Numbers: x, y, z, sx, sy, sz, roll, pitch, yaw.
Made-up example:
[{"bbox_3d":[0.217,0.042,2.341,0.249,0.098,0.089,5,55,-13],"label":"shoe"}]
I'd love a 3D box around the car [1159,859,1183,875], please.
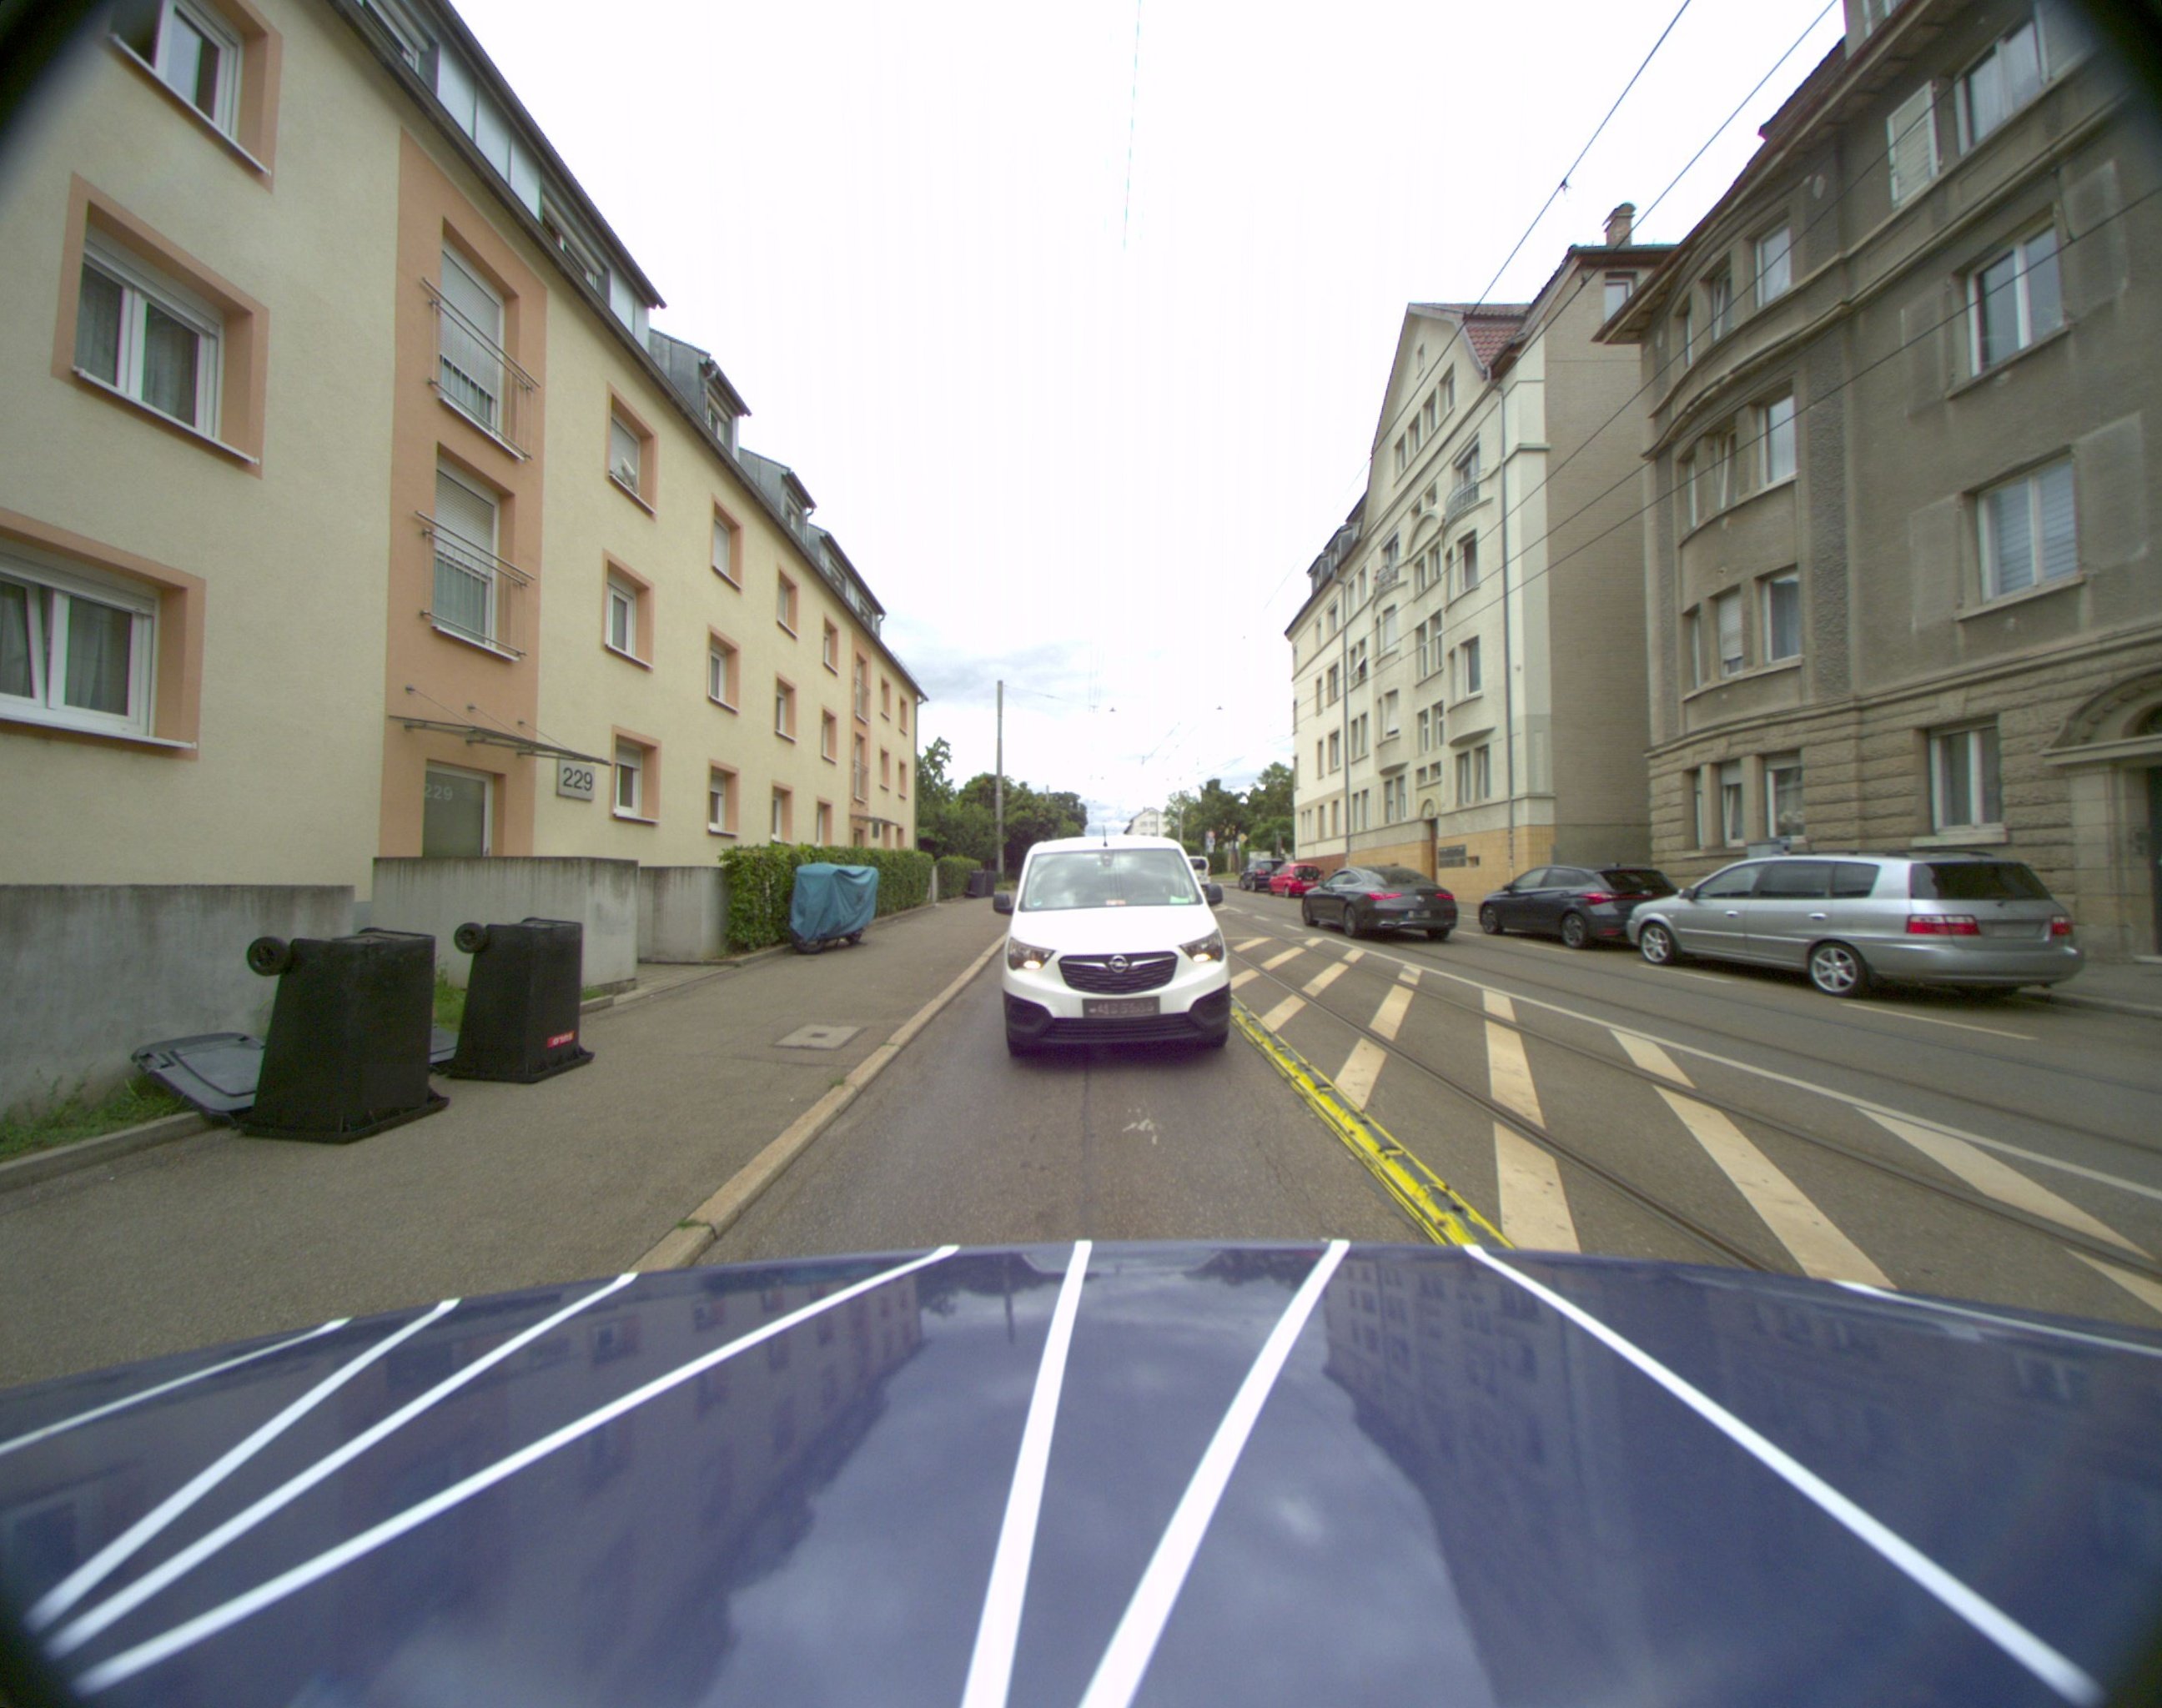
[{"bbox_3d":[9.627,1.380,81.729,1.974,1.677,4.632,0,1,-1],"label":"car"}]

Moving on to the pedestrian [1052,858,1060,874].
[{"bbox_3d":[-2.594,1.223,79.246,0.716,1.611,0.718,0,0,1],"label":"pedestrian"}]

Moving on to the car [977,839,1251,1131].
[{"bbox_3d":[0.264,0.849,7.026,1.730,1.850,4.421,0,0,1],"label":"car"}]

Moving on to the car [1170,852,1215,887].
[{"bbox_3d":[6.013,0.816,41.319,1.925,1.808,4.218,0,0,2],"label":"car"}]

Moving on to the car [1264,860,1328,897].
[{"bbox_3d":[9.366,1.025,33.360,1.625,1.454,3.744,0,1,-2],"label":"car"}]

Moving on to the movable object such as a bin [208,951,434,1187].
[{"bbox_3d":[-3.904,1.073,3.942,0.612,1.073,0.541,0,0,2],"label":"movable object such as a bin"}]

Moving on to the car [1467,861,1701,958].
[{"bbox_3d":[9.074,0.910,14.171,1.625,1.454,4.032,0,1,-1],"label":"car"}]

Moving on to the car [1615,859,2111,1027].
[{"bbox_3d":[8.987,0.866,9.415,1.625,1.595,4.351,0,0,-1],"label":"car"}]

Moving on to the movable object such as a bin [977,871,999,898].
[{"bbox_3d":[-3.681,1.201,30.157,0.794,1.006,0.789,0,0,-3],"label":"movable object such as a bin"}]

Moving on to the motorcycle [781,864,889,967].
[{"bbox_3d":[-3.875,0.904,12.229,0.840,1.448,2.553,0,0,1],"label":"motorcycle"}]

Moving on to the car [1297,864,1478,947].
[{"bbox_3d":[6.053,0.942,15.673,1.926,1.416,4.498,0,0,0],"label":"car"}]

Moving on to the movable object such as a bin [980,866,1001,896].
[{"bbox_3d":[-3.677,1.092,31.045,0.794,1.211,0.789,0,0,-3],"label":"movable object such as a bin"}]

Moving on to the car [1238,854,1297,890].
[{"bbox_3d":[9.359,0.868,38.446,1.872,1.636,4.401,0,1,-1],"label":"car"}]

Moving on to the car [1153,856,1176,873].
[{"bbox_3d":[9.631,1.169,87.949,1.974,1.901,4.734,0,1,-1],"label":"car"}]

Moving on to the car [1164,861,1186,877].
[{"bbox_3d":[9.445,1.530,76.448,1.743,1.500,3.868,0,1,-1],"label":"car"}]

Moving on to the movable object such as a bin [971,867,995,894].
[{"bbox_3d":[-3.776,1.001,29.226,0.794,1.006,0.789,0,0,3],"label":"movable object such as a bin"}]

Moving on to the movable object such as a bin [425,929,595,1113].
[{"bbox_3d":[-3.763,1.073,5.059,0.590,1.073,0.692,0,0,3],"label":"movable object such as a bin"}]
